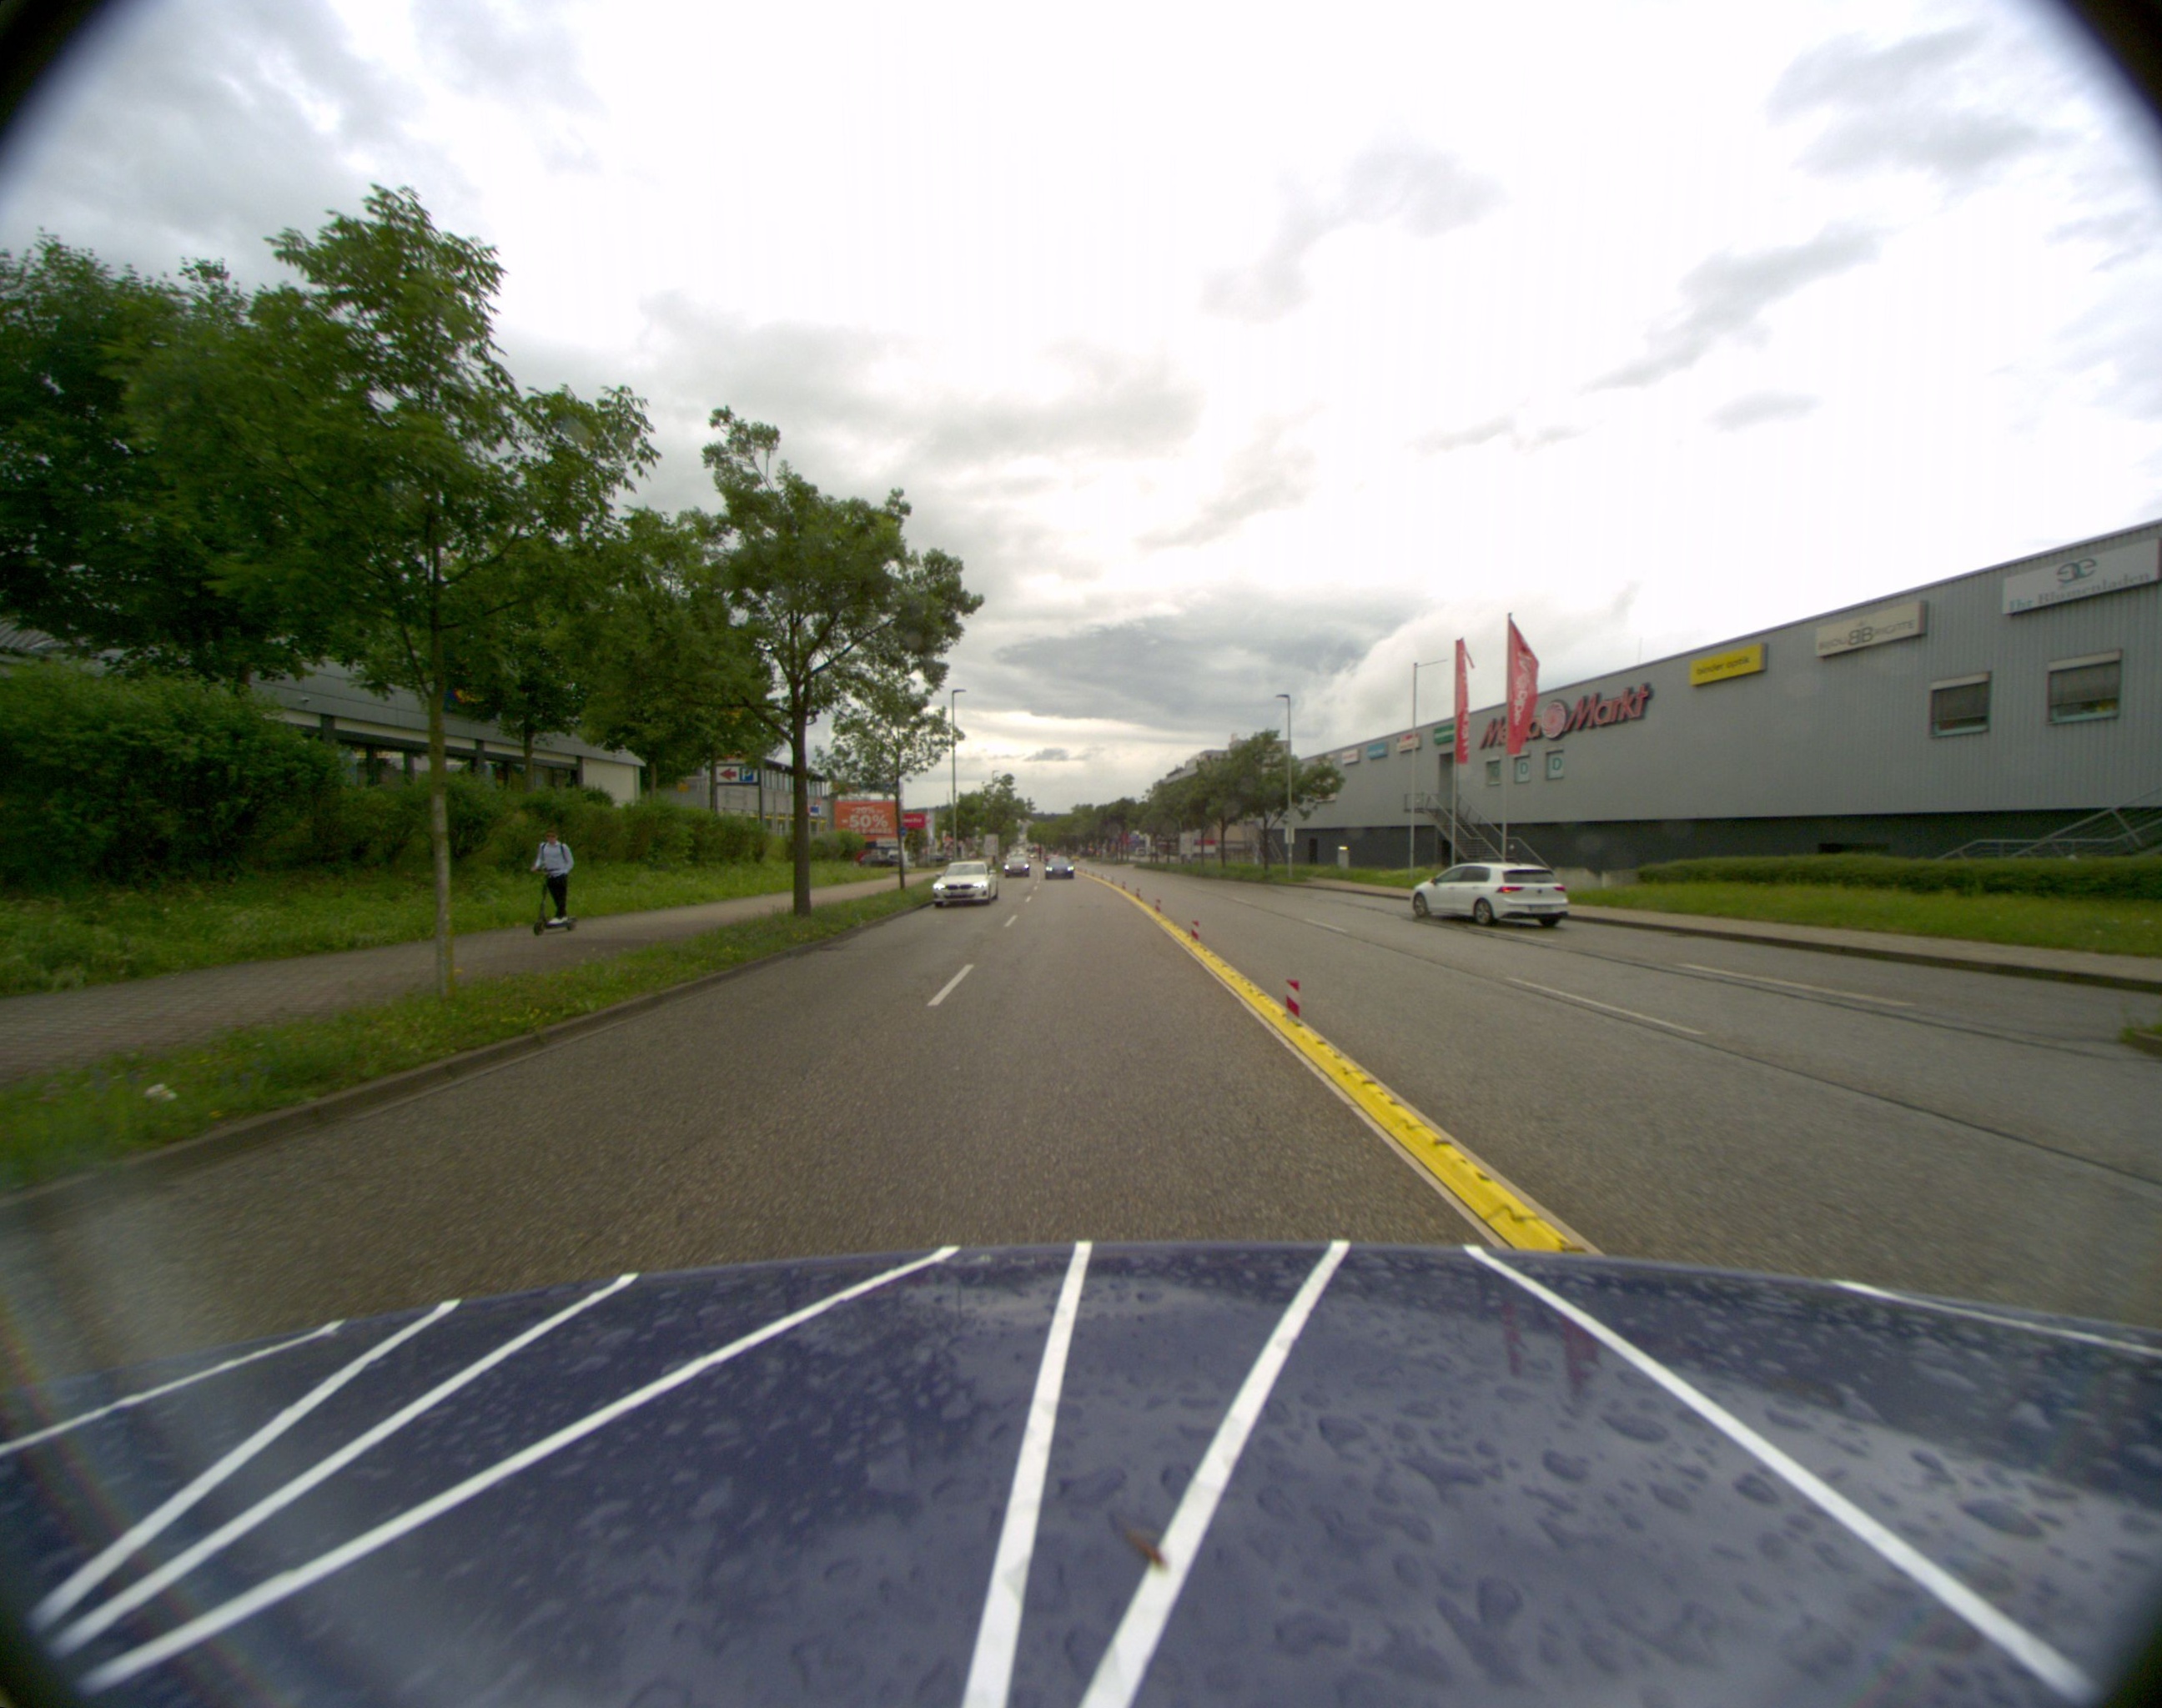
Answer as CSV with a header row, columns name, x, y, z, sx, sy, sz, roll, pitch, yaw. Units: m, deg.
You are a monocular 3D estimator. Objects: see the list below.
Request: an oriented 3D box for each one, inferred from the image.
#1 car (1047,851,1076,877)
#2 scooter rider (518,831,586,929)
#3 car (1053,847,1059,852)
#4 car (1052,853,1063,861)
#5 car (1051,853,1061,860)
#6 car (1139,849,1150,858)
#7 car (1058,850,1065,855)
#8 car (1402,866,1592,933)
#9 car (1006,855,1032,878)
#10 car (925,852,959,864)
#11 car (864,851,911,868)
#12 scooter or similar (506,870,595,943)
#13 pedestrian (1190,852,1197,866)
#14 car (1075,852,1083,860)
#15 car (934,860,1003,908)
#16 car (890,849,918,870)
name,x,y,z,sx,sy,sz,roll,pitch,yaw
car,-1.310,0.647,50.865,1.799,1.572,4.217,-3,0,-2
scooter rider,-10.104,0.470,14.538,0.696,1.810,0.858,1,1,1
car,-8.447,-1.515,258.136,1.746,1.543,4.780,1,-1,-4
car,-4.591,0.568,147.727,1.789,1.398,4.614,0,0,-6
car,-5.009,0.534,153.773,1.746,1.398,3.997,0,0,-6
car,14.470,-0.127,174.435,1.998,2.002,4.884,-5,1,0
car,-6.041,-0.370,233.754,1.746,1.398,4.466,1,1,-4
car,9.840,1.008,18.455,1.905,1.400,4.422,0,0,-5
car,-4.725,0.909,57.525,1.799,1.572,4.216,-3,0,-6
car,-20.673,0.627,113.117,4.665,1.591,1.927,2,0,5
car,-18.036,0.534,70.782,4.107,1.429,1.795,-1,-2,-17
scooter or similar,-10.117,0.975,14.554,0.696,1.256,1.400,1,1,1
pedestrian,12.975,0.568,87.940,0.586,1.574,0.766,-3,1,-3
car,-0.444,0.406,169.743,1.621,1.500,3.710,-4,2,0
car,-3.826,0.972,26.535,1.808,1.432,4.540,-3,0,-2
car,-22.068,0.703,94.946,2.233,2.522,5.679,-2,0,-3
